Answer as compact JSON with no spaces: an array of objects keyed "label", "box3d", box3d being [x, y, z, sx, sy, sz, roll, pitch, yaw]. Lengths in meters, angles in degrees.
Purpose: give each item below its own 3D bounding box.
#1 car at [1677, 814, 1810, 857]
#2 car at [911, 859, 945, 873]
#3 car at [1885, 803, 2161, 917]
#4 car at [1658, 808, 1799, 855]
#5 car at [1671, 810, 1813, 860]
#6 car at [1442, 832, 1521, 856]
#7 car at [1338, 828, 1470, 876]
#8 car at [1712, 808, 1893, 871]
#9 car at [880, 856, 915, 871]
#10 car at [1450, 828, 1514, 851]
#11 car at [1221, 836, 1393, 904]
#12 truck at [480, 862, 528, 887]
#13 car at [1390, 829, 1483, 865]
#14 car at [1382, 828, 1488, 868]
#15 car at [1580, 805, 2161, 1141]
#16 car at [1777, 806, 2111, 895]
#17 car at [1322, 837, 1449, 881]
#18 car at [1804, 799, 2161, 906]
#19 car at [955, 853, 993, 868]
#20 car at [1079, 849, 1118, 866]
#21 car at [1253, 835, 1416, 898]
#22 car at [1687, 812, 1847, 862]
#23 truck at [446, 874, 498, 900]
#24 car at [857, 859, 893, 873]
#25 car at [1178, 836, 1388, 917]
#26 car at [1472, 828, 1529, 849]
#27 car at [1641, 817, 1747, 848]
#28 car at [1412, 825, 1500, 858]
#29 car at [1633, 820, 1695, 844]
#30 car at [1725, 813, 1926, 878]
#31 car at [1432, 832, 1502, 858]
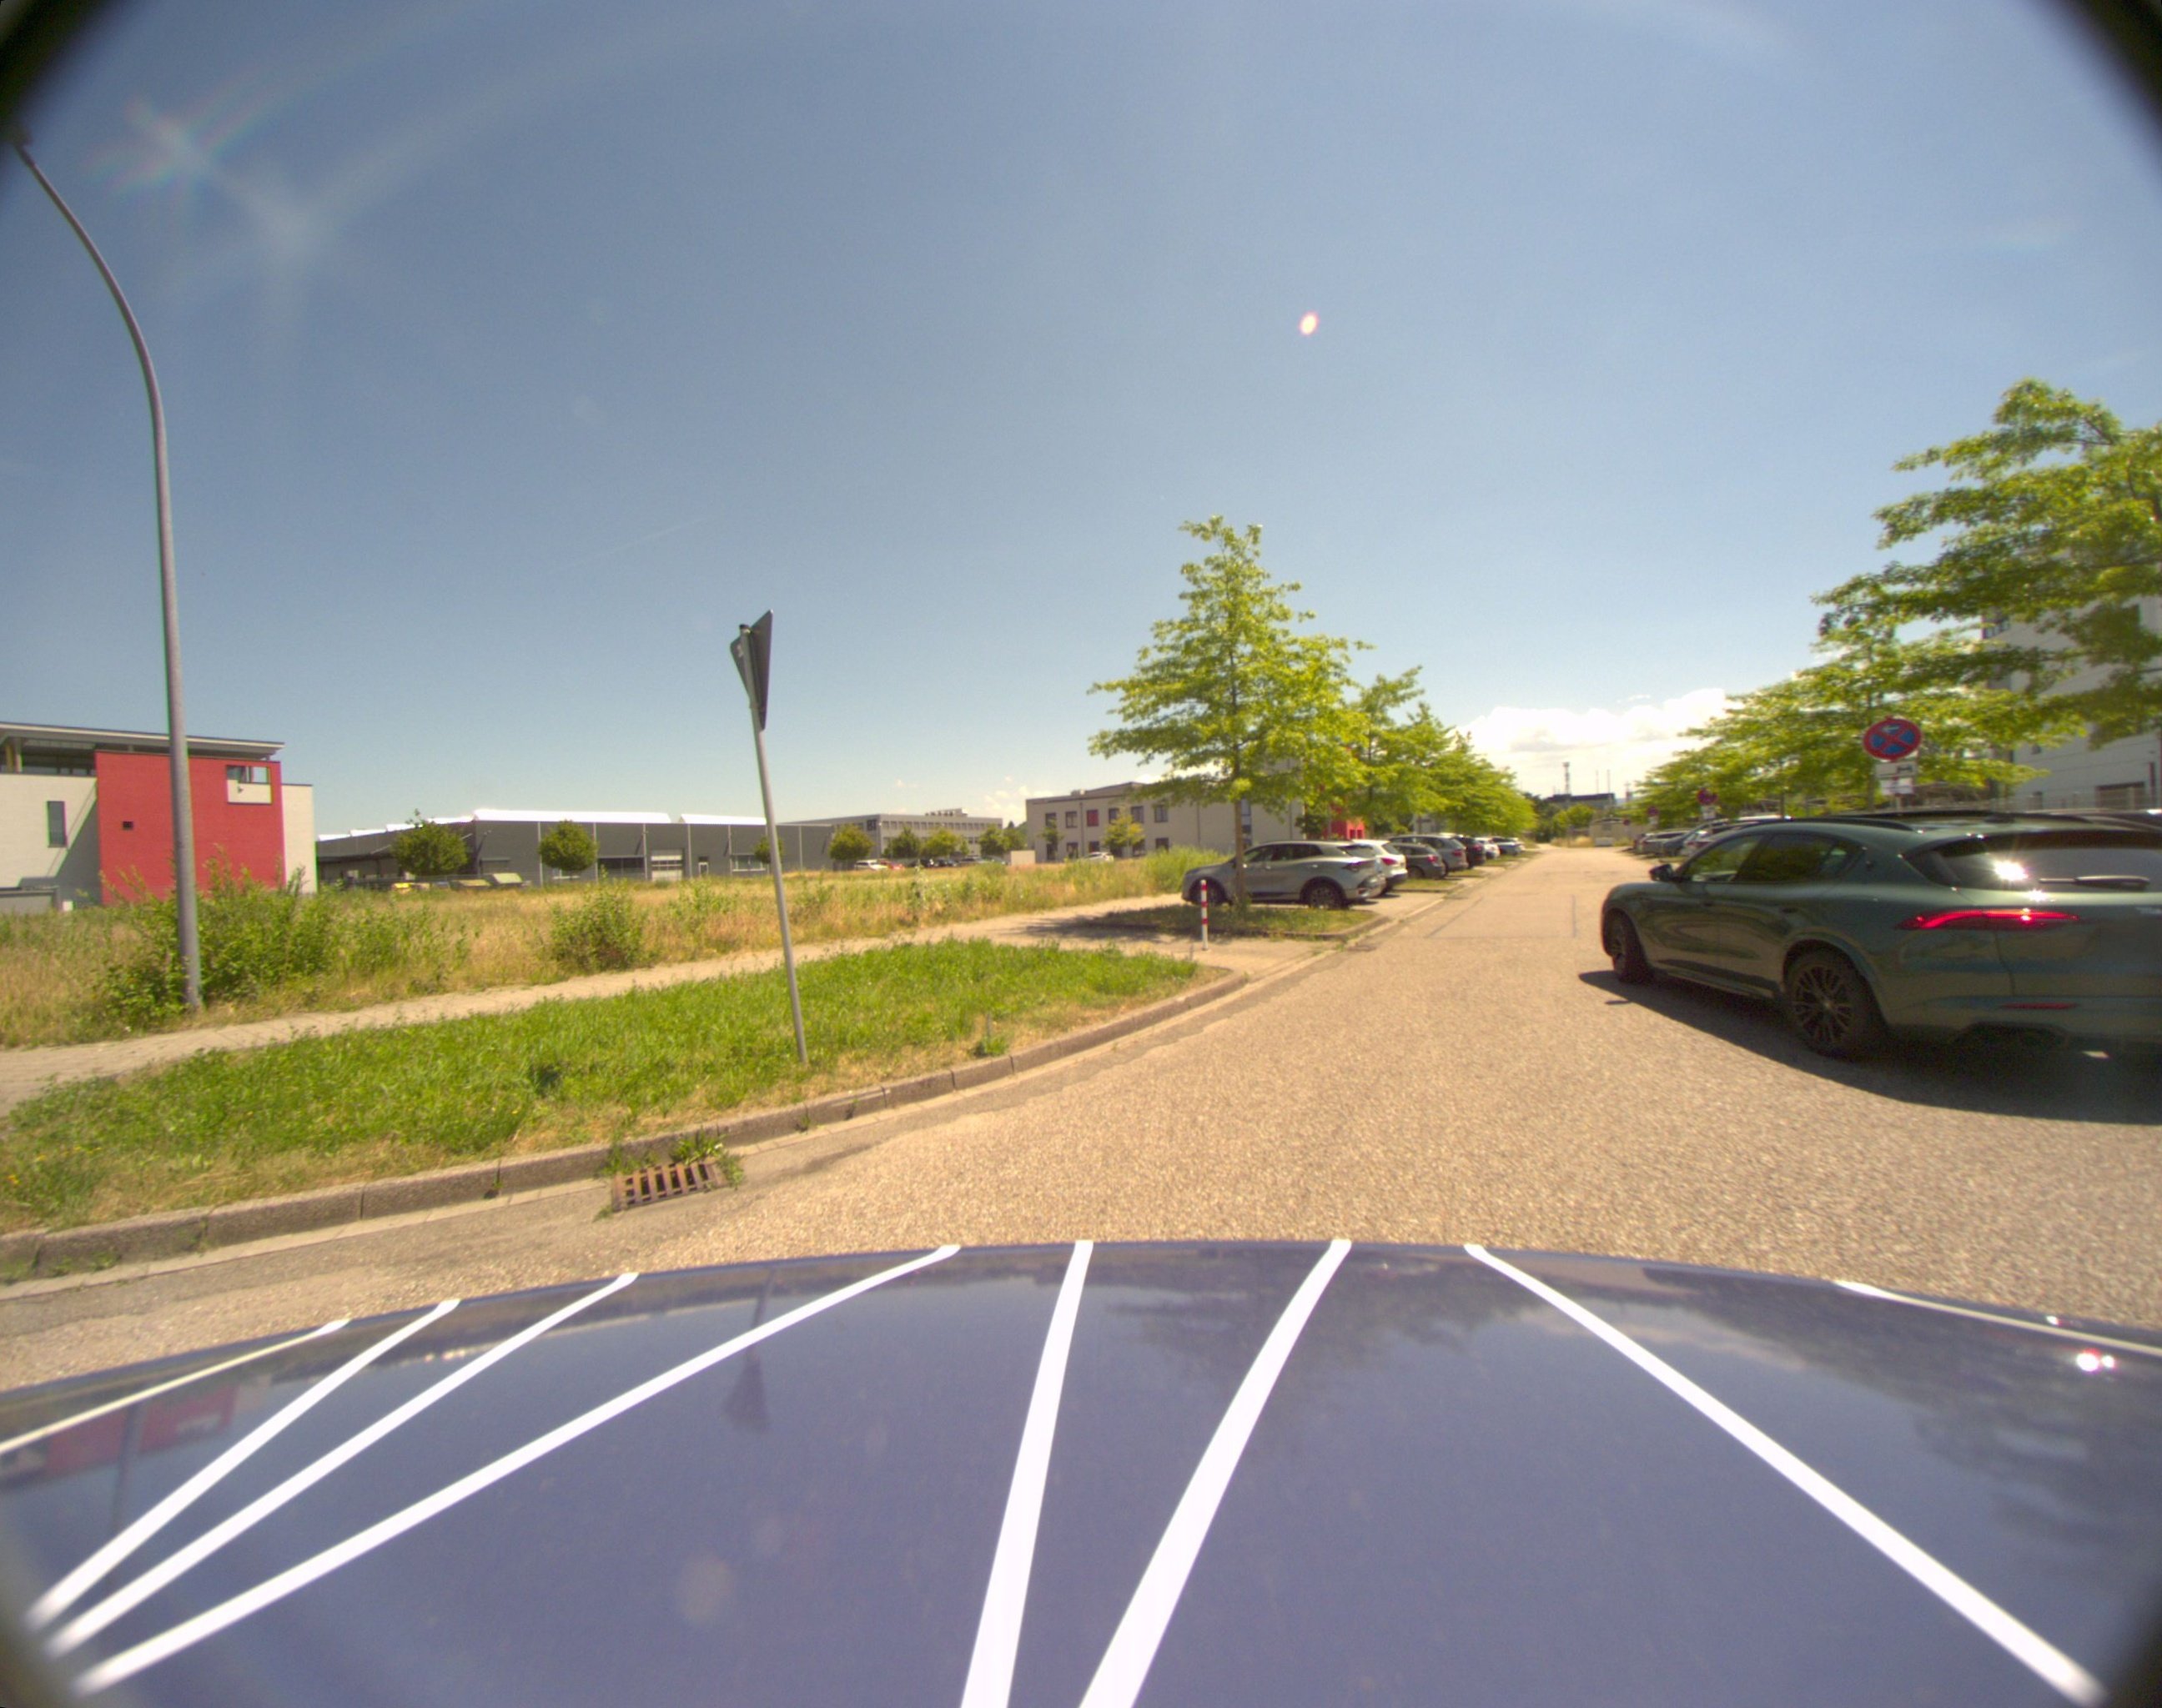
[{"label":"car","box3d":[28.559,-0.774,32.911,4.041,1.452,1.607,-5,-1,30]},{"label":"car","box3d":[-18.797,1.500,93.116,3.989,1.501,1.722,-2,1,33]},{"label":"car","box3d":[14.619,0.064,11.052,3.628,1.427,1.729,-5,-1,33]},{"label":"car","box3d":[32.094,-1.078,37.918,5.074,1.880,2.001,-4,-1,35]},{"label":"car","box3d":[26.927,-0.753,31.122,3.991,1.668,1.780,-5,-1,28]},{"label":"car","box3d":[27.447,-0.670,52.073,4.719,1.552,1.917,-1,1,30]},{"label":"car","box3d":[12.591,-0.066,29.672,4.451,1.758,1.996,-1,1,31]},{"label":"car","box3d":[22.194,-0.425,23.589,3.740,1.611,1.820,-5,-1,34]},{"label":"car","box3d":[-21.398,1.100,88.562,3.989,1.501,1.722,-2,1,33]},{"label":"car","box3d":[29.925,-1.068,56.766,4.048,1.616,1.696,-1,1,34]},{"label":"car","box3d":[5.967,0.411,20.152,3.989,1.635,1.841,-1,1,32]},{"label":"truck","box3d":[-50.191,1.818,66.105,3.989,2.002,2.004,-2,1,33]},{"label":"car","box3d":[17.372,-0.325,37.195,3.877,1.668,1.785,-1,1,34]},{"label":"car","box3d":[16.101,-0.256,34.634,4.175,1.687,1.785,-1,1,32]},{"label":"car","box3d":[6.071,0.579,6.011,1.954,1.697,4.515,-1,1,10]},{"label":"car","box3d":[17.347,-0.039,15.618,4.079,1.415,1.877,-5,-1,30]},{"label":"car","box3d":[11.045,0.194,27.592,3.925,1.402,1.912,-2,2,33]},{"label":"car","box3d":[15.711,0.013,13.410,3.931,1.511,1.788,-5,-1,32]},{"label":"car","box3d":[-12.090,0.706,85.570,3.989,1.501,1.722,-2,1,32]},{"label":"car","box3d":[1.700,0.331,74.044,3.325,1.501,1.722,-2,1,33]},{"label":"car","box3d":[7.287,0.355,21.944,4.070,1.599,1.904,-1,2,34]},{"label":"car","box3d":[25.684,-0.608,28.676,4.197,1.471,1.716,-5,-1,34]},{"label":"truck","box3d":[-50.897,2.777,63.486,4.345,2.002,2.004,-2,1,33]},{"label":"car","box3d":[-23.469,1.338,86.647,3.989,1.444,1.722,-2,1,33]},{"label":"car","box3d":[4.625,0.479,17.593,4.281,1.635,1.854,-1,2,33]},{"label":"car","box3d":[34.217,-1.222,61.995,3.836,1.544,1.783,-2,0,38]},{"label":"car","box3d":[37.084,-1.260,46.138,4.717,1.438,1.861,-5,-1,32]},{"label":"car","box3d":[22.022,-0.724,44.663,4.405,1.819,1.799,-1,2,34]},{"label":"car","box3d":[48.445,-1.820,63.207,3.909,1.582,1.731,-5,-1,37]},{"label":"car","box3d":[20.799,-0.225,21.448,3.660,1.499,1.734,-5,-1,30]},{"label":"car","box3d":[23.739,-0.565,46.710,3.633,1.494,1.679,-1,2,34]}]
